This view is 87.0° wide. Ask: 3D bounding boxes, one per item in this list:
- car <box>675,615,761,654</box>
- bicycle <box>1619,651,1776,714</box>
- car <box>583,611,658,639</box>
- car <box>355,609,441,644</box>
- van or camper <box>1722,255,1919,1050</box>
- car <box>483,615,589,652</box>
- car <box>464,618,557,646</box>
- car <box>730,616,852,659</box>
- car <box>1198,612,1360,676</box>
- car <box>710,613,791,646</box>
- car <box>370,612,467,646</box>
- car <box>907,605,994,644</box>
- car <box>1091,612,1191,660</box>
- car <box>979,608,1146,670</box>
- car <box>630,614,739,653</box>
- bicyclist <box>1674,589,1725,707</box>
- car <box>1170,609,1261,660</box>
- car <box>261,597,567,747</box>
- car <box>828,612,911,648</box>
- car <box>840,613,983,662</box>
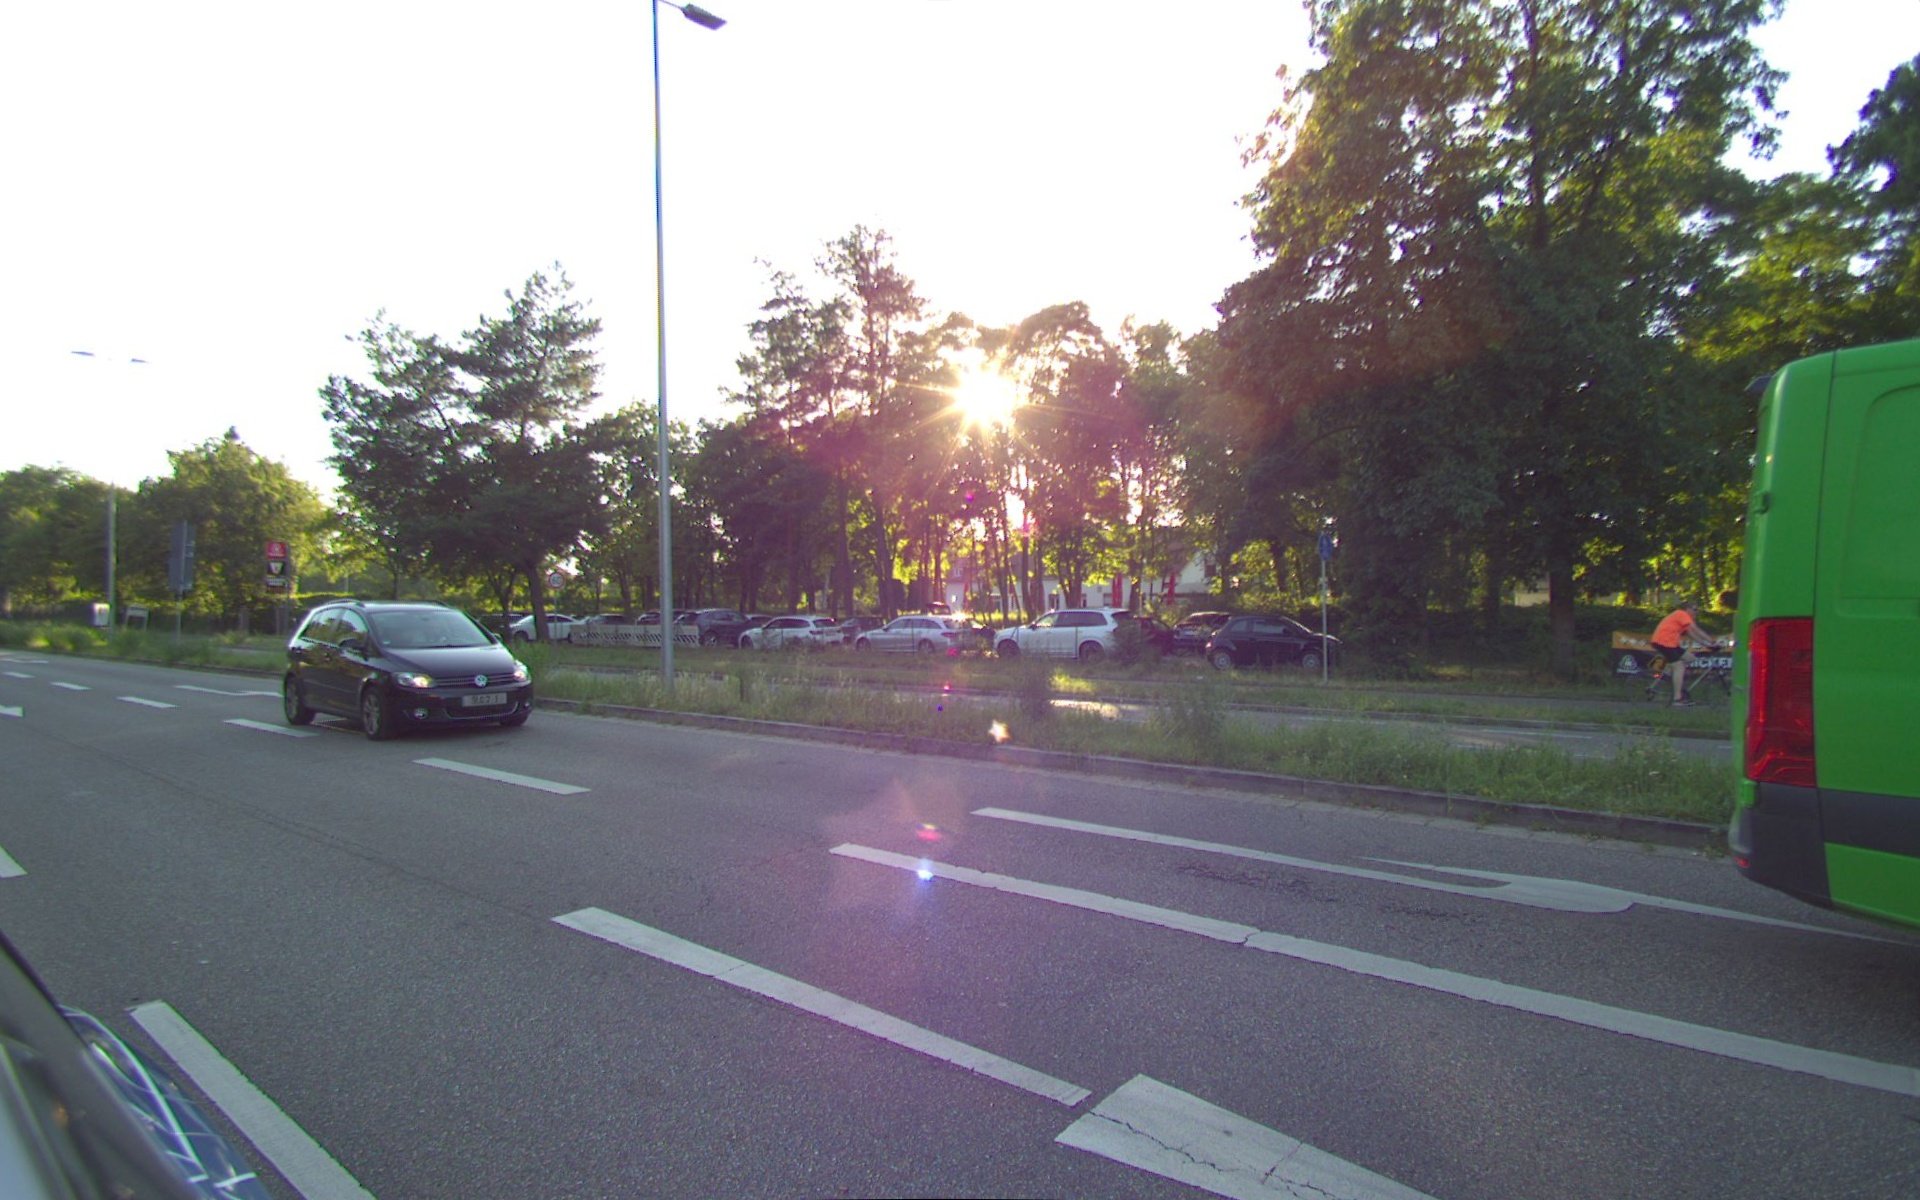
[{"bbox_3d":[-9.873,1.385,41.369,1.657,1.538,3.060,-1,-2,38],"label":"car"},{"bbox_3d":[12.100,1.335,16.685,2.038,0.940,0.488,-1,-2,33],"label":"bicycle"},{"bbox_3d":[-20.505,1.510,61.246,1.765,1.663,3.947,-1,-2,40],"label":"car"},{"bbox_3d":[-32.543,1.520,58.681,1.764,1.959,3.949,-1,-2,38],"label":"car"},{"bbox_3d":[5.465,0.138,2.273,5.891,2.439,1.973,-1,-2,40],"label":"van or camper"},{"bbox_3d":[-20.811,1.625,49.852,1.908,1.767,4.441,-1,-2,39],"label":"car"},{"bbox_3d":[-22.658,1.592,51.141,1.731,1.322,3.947,-1,-2,39],"label":"car"},{"bbox_3d":[-6.612,1.418,39.303,4.701,1.560,1.975,-1,-2,37],"label":"car"},{"bbox_3d":[8.566,1.150,27.259,3.807,1.609,1.838,-1,-2,36],"label":"car"},{"bbox_3d":[-10.910,1.524,52.956,1.765,1.663,3.947,-1,-2,40],"label":"car"},{"bbox_3d":[-30.262,1.609,56.668,1.907,1.811,4.443,-1,-2,38],"label":"car"},{"bbox_3d":[-0.393,1.106,45.121,1.765,1.663,3.947,-1,-2,39],"label":"car"},{"bbox_3d":[6.816,1.314,37.855,1.918,1.663,3.944,-1,-2,42],"label":"car"},{"bbox_3d":[3.167,1.180,31.814,4.913,1.800,1.975,-1,-2,37],"label":"car"},{"bbox_3d":[-11.903,1.420,43.954,1.769,1.629,4.470,-1,-2,37],"label":"car"},{"bbox_3d":[12.163,0.782,16.660,0.616,1.888,0.454,-1,-2,33],"label":"bicyclist"},{"bbox_3d":[8.993,1.177,35.453,1.914,1.663,3.954,-1,-1,34],"label":"car"},{"bbox_3d":[-6.888,0.796,12.632,3.995,1.564,1.974,-1,-2,39],"label":"car"},{"bbox_3d":[-4.328,1.454,49.055,1.765,1.663,3.947,-1,-2,39],"label":"car"},{"bbox_3d":[-1.753,1.289,35.600,4.913,1.619,1.975,-1,-2,37],"label":"car"}]
